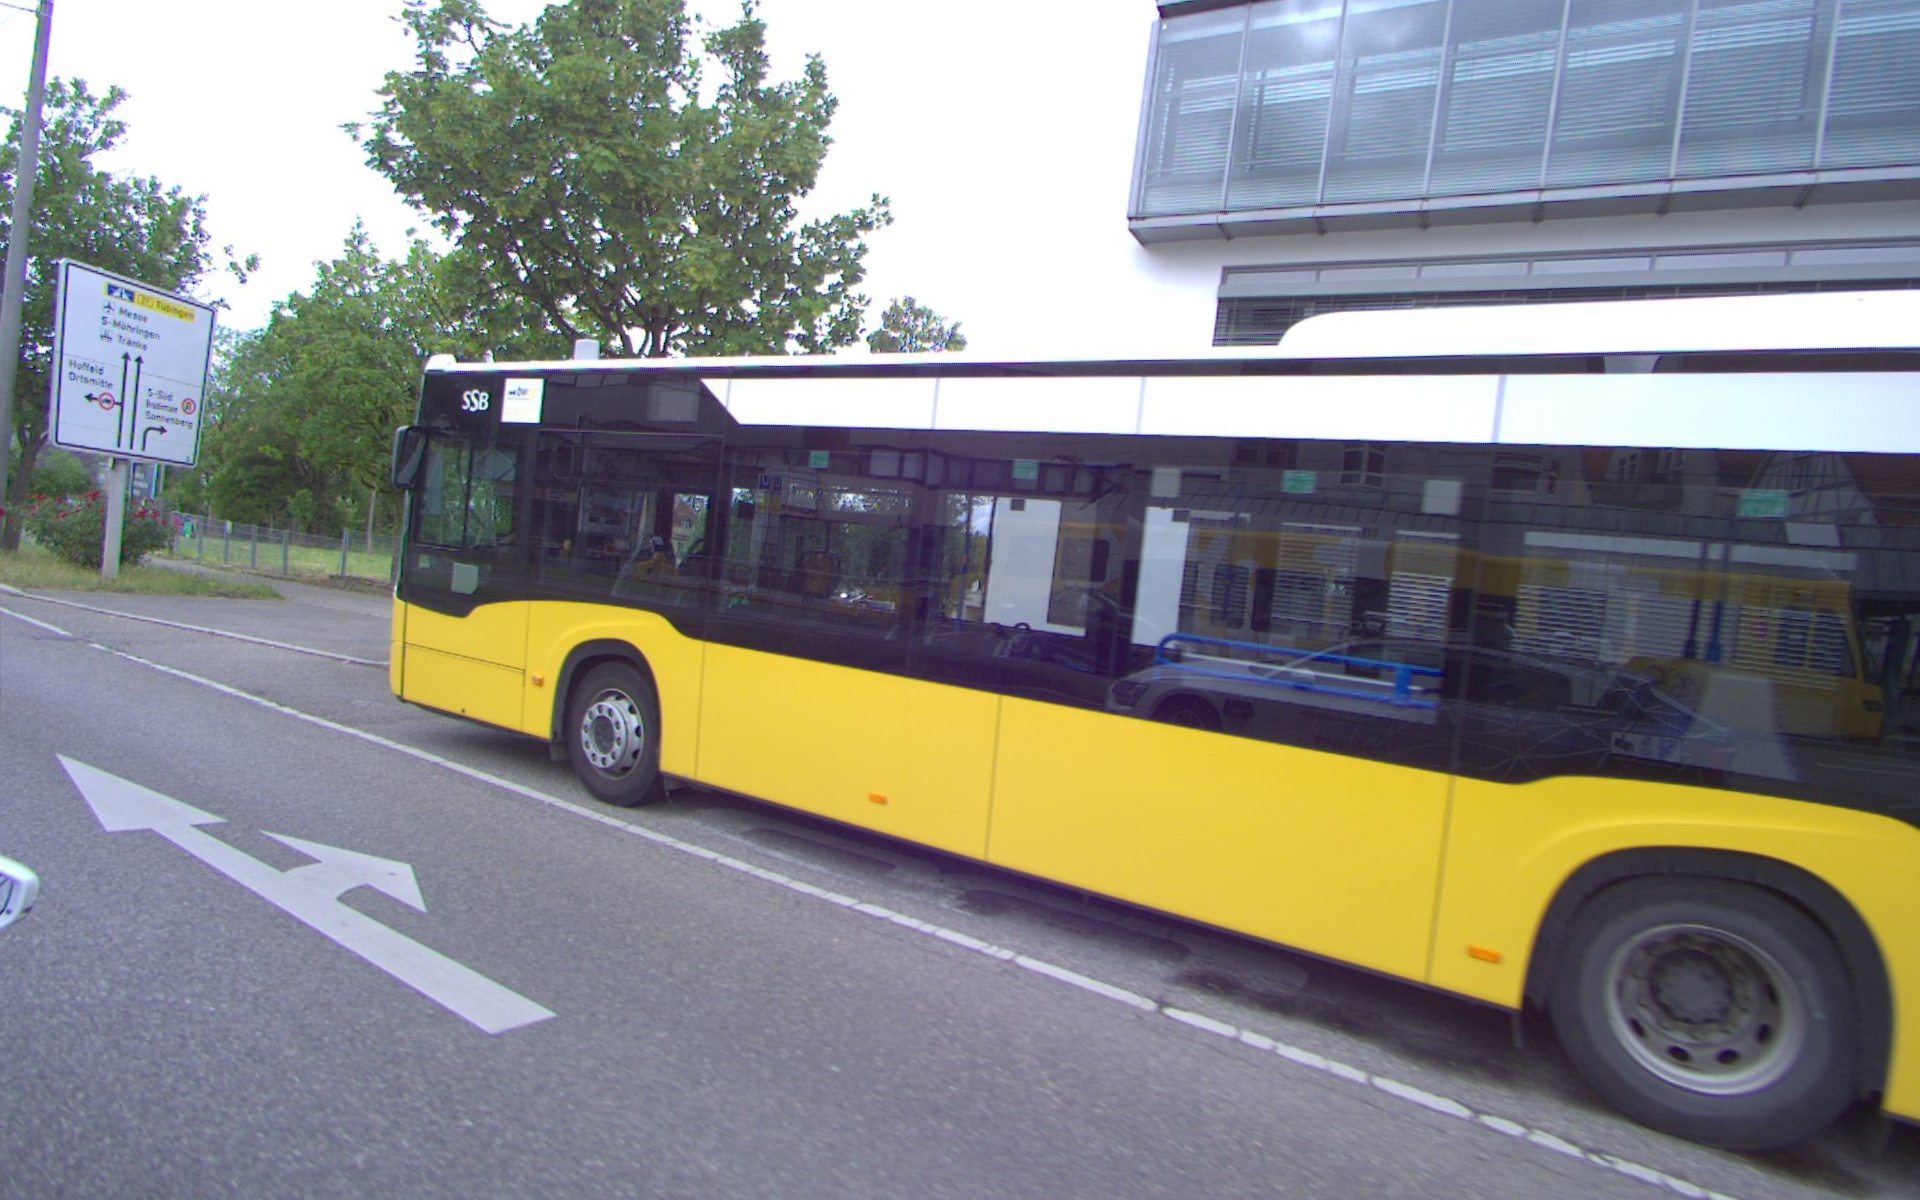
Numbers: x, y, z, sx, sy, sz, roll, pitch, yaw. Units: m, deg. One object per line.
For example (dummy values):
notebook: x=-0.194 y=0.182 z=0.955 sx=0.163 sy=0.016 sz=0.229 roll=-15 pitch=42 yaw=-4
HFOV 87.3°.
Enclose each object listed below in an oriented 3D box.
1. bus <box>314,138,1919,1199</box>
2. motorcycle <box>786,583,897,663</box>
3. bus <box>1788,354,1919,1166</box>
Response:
bus: x=0.062 y=-0.039 z=6.566 sx=9.702 sy=3.277 sz=2.989 roll=6 pitch=-2 yaw=32
motorcycle: x=-1.977 y=0.379 z=17.051 sx=1.710 sy=1.129 sz=0.824 roll=7 pitch=1 yaw=-3
bus: x=7.914 y=0.906 z=1.856 sx=9.181 sy=3.277 sz=3.039 roll=7 pitch=1 yaw=31
